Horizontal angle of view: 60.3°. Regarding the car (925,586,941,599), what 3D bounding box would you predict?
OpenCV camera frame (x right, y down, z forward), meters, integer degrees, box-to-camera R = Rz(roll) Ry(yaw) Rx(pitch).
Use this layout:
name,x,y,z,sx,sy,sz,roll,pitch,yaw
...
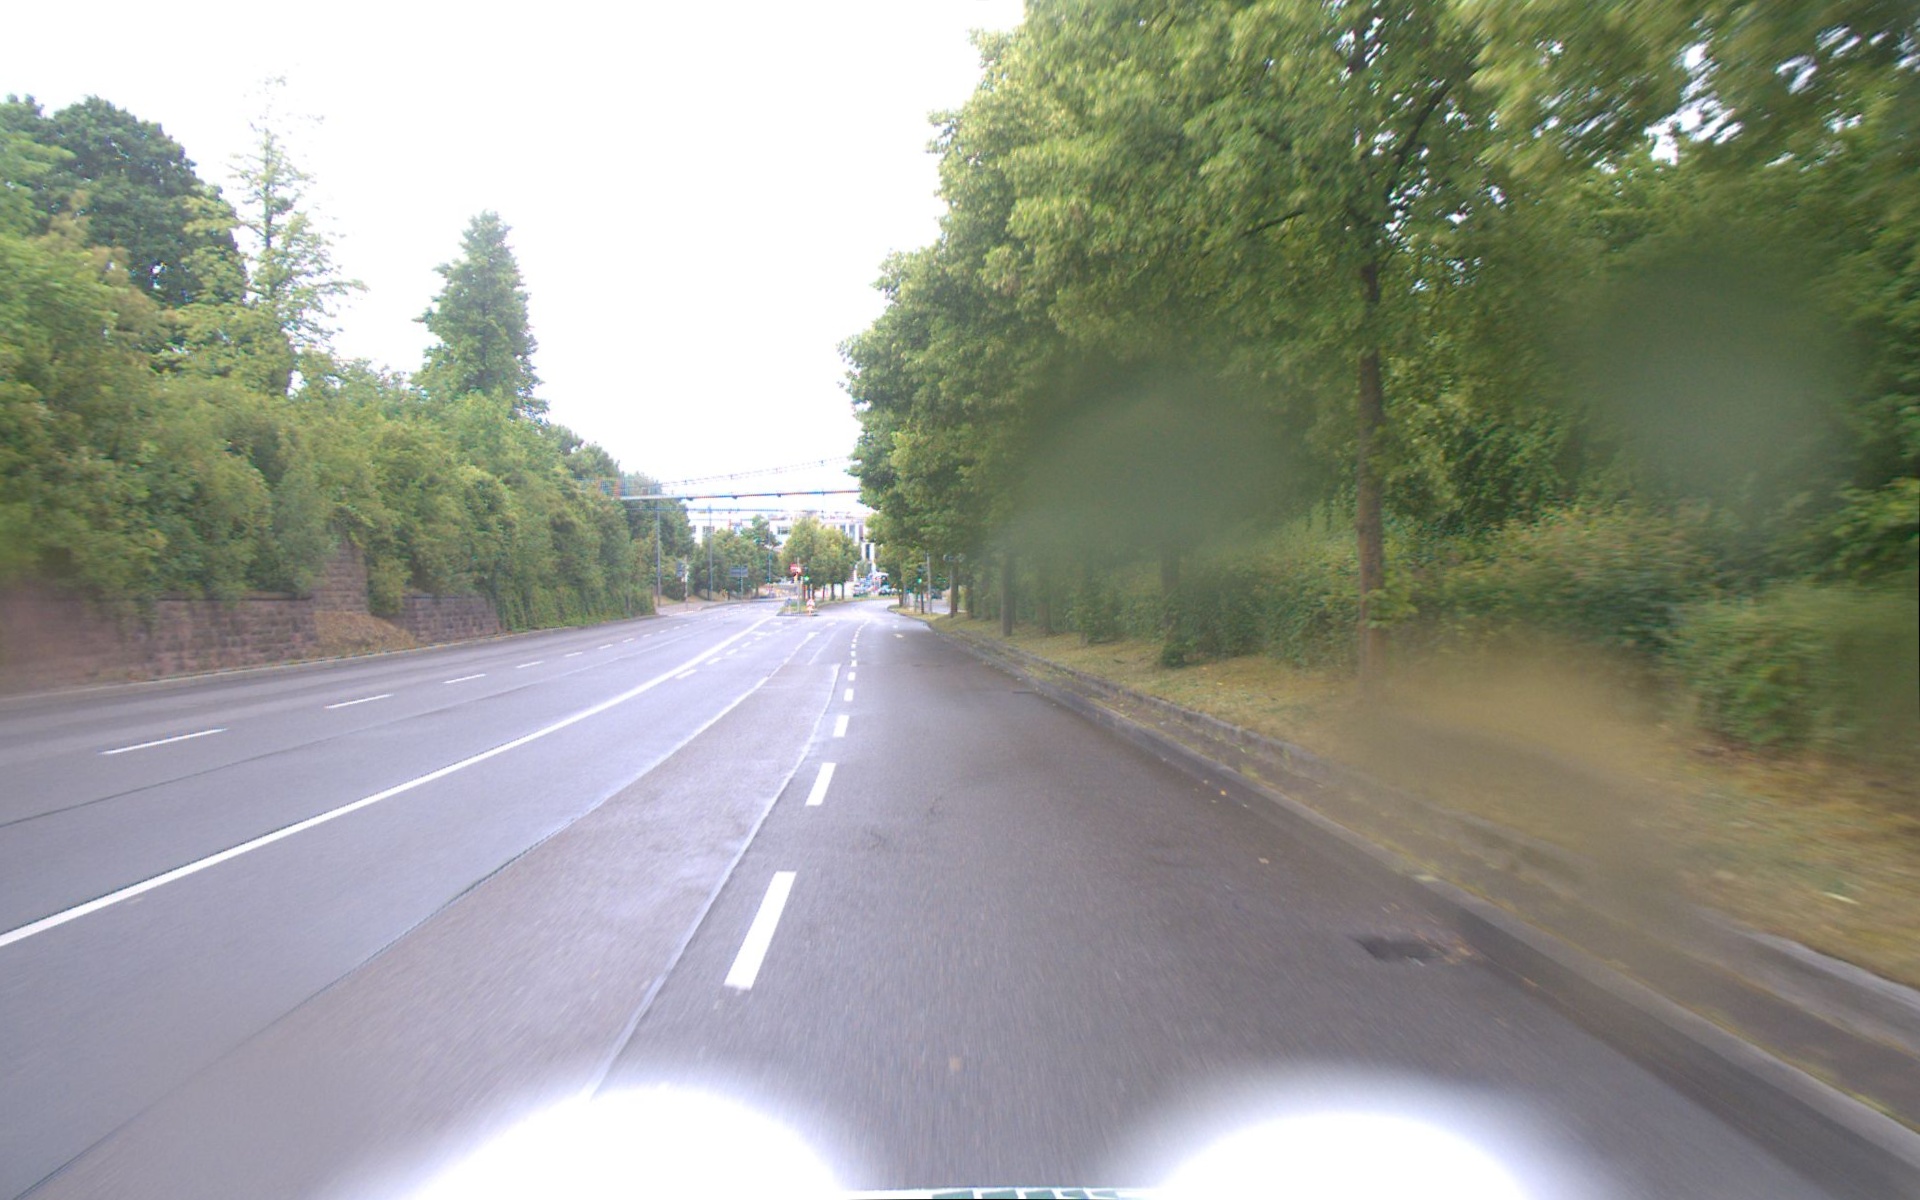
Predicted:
name,x,y,z,sx,sy,sz,roll,pitch,yaw
car,-3.815,-1.033,233.586,1.810,1.731,3.795,1,-1,5
